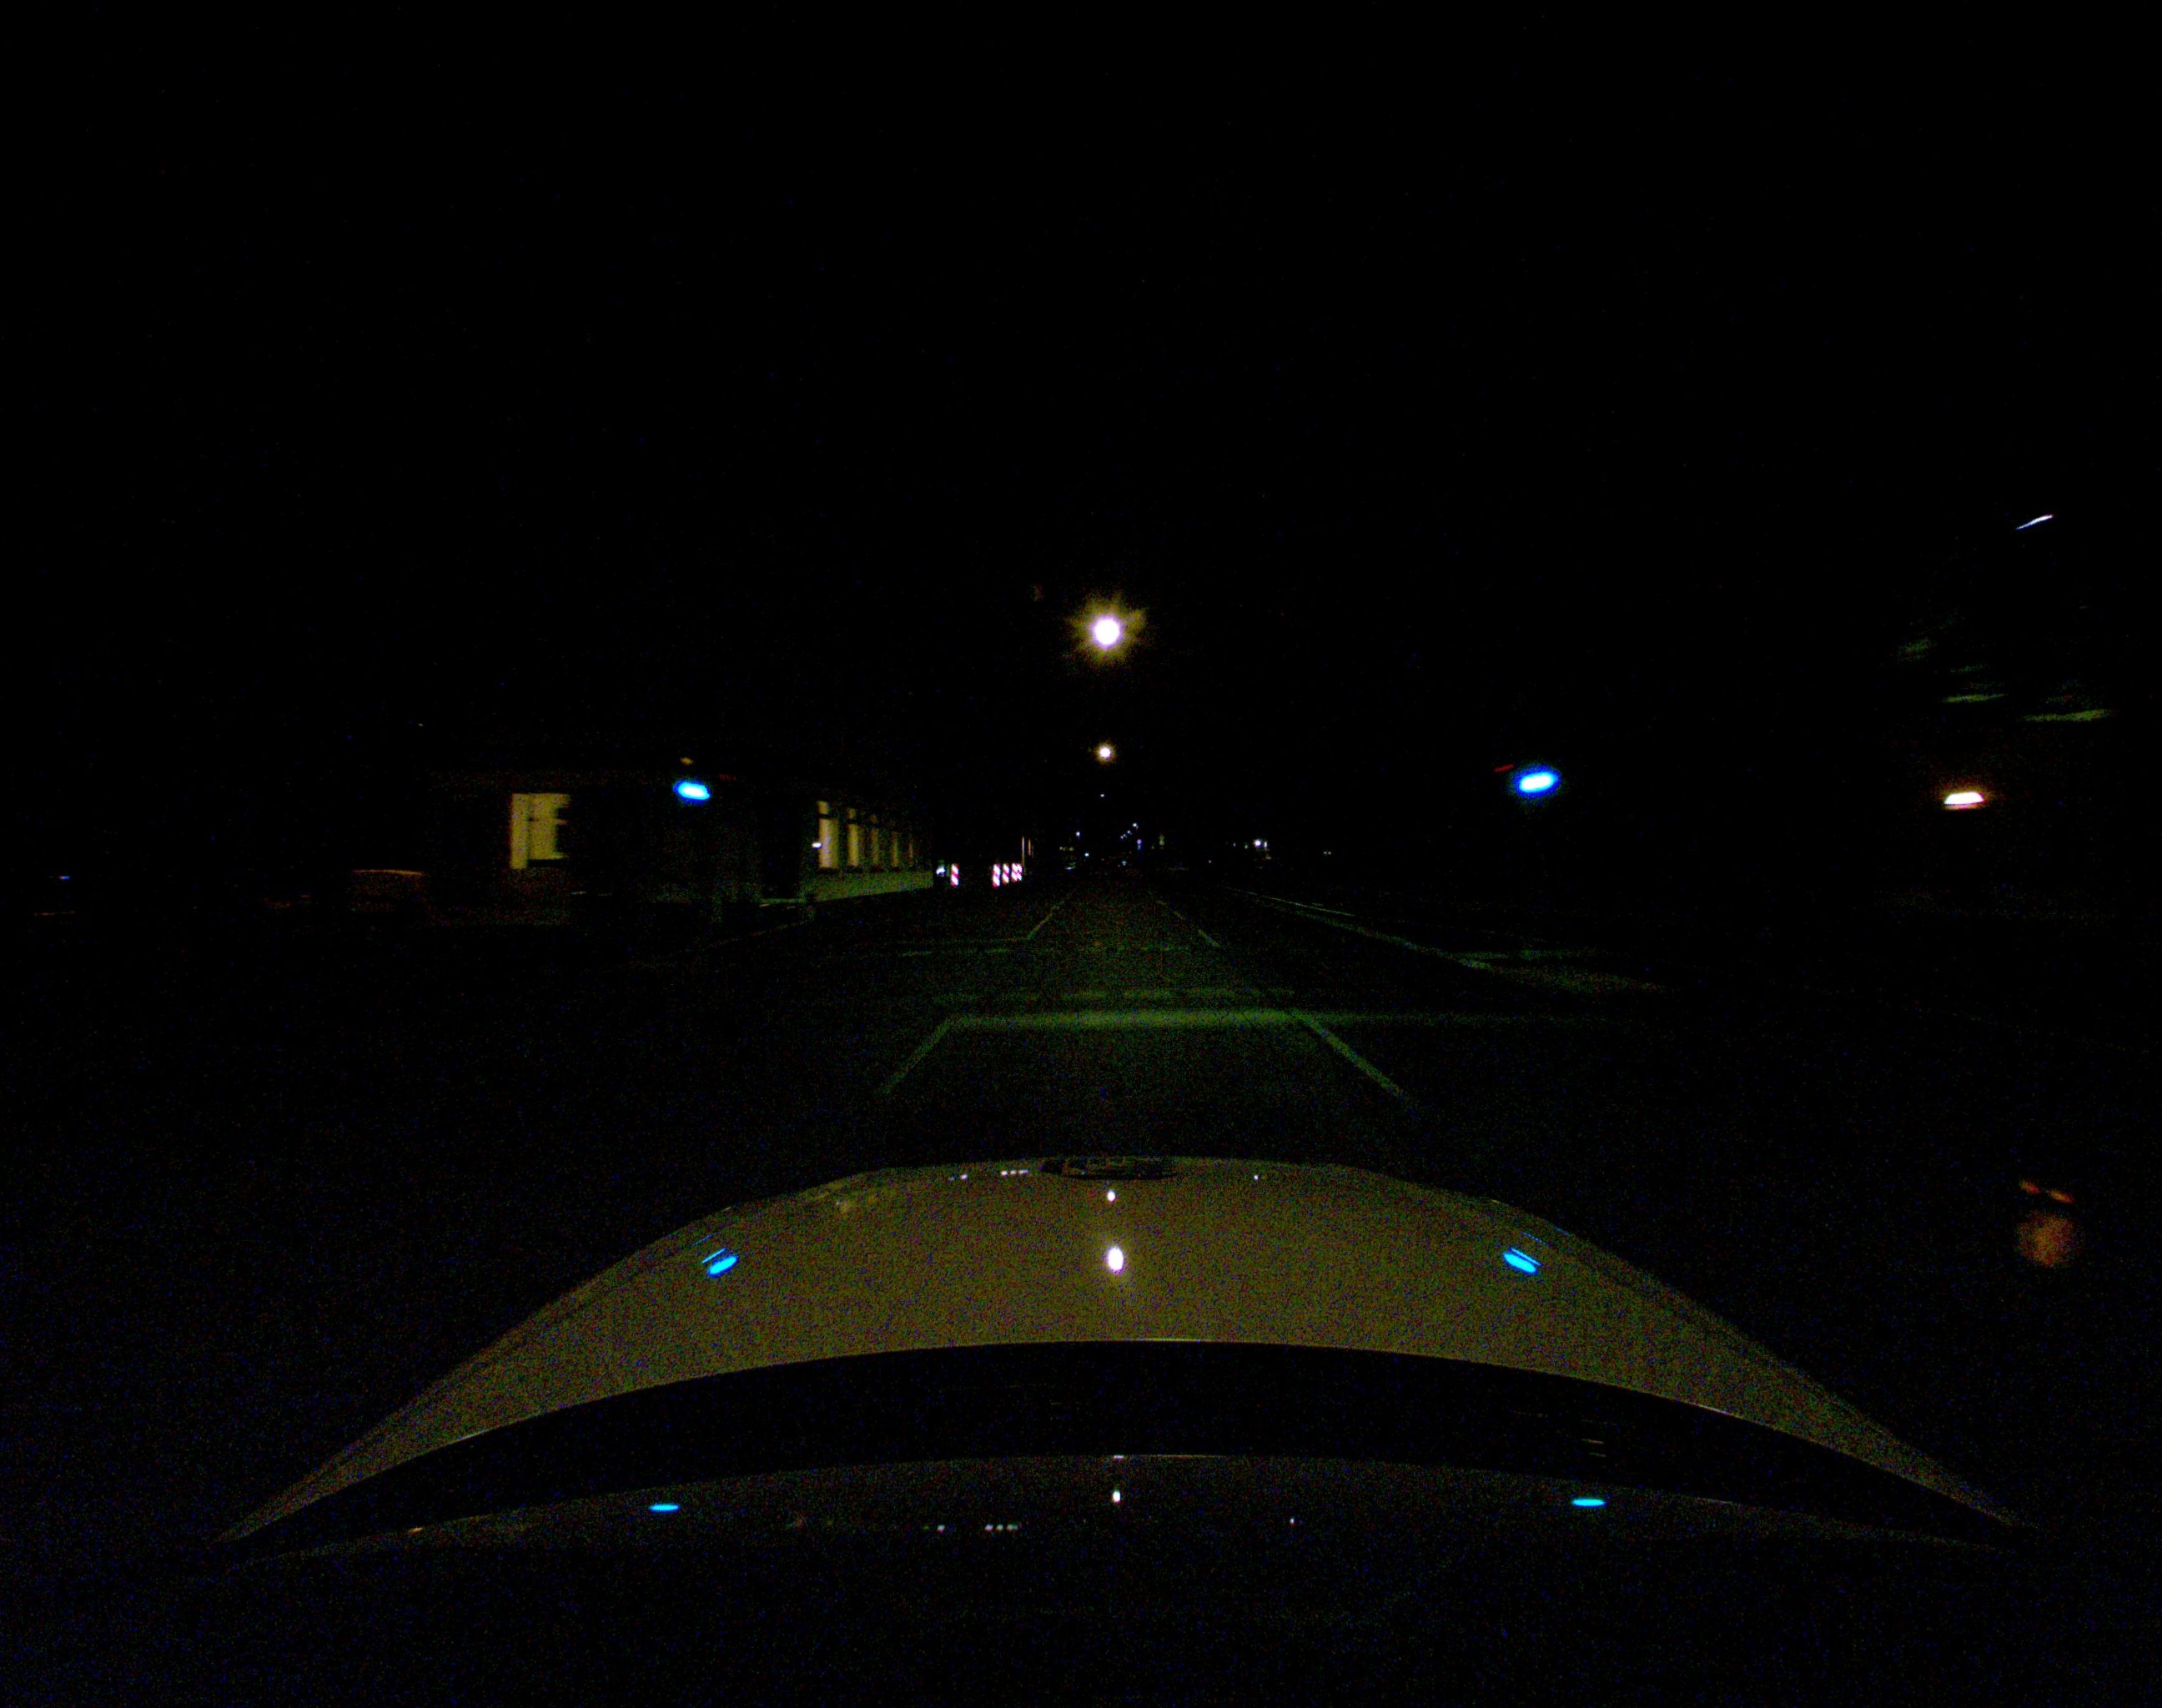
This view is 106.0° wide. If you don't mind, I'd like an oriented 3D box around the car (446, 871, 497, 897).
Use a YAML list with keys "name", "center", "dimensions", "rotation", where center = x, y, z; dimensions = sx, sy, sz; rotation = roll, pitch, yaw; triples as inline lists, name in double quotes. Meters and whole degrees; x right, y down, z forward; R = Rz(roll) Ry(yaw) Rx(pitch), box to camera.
- name: "car"
  center: [-42.653, 2.103, 57.094]
  dimensions: [1.905, 1.735, 3.970]
  rotation: [-1, -1, -22]

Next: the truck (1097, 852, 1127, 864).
- name: "truck"
  center: [7.195, 0.949, 187.805]
  dimensions: [6.758, 2.844, 1.999]
  rotation: [-1, -1, -2]

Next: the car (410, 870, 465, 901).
- name: "car"
  center: [-40.092, 1.917, 50.868]
  dimensions: [1.804, 1.809, 3.967]
  rotation: [-1, 0, -25]

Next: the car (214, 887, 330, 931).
- name: "car"
  center: [-31.302, 2.080, 31.659]
  dimensions: [1.890, 1.449, 3.968]
  rotation: [-1, 0, -24]

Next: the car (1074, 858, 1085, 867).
- name: "car"
  center: [-0.245, 1.411, 133.123]
  dimensions: [1.699, 1.510, 4.100]
  rotation: [0, -1, 1]

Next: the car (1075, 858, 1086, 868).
- name: "car"
  center: [-0.126, 1.504, 139.067]
  dimensions: [1.671, 1.566, 4.105]
  rotation: [-2, -1, 1]

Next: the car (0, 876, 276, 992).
- name: "car"
  center: [-15.951, 1.229, 13.877]
  dimensions: [1.924, 1.644, 4.075]
  rotation: [2, -2, -27]

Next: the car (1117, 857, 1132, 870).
- name: "car"
  center: [5.920, 1.307, 110.162]
  dimensions: [1.876, 1.603, 4.111]
  rotation: [-3, -1, 3]

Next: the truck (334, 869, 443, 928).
- name: "truck"
  center: [-23.681, 1.478, 28.019]
  dimensions: [1.900, 1.807, 4.077]
  rotation: [-1, -1, -27]

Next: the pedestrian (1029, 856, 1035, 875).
- name: "pedestrian"
  center: [-4.589, 1.094, 76.463]
  dimensions: [0.416, 1.708, 0.440]
  rotation: [-1, -2, -15]

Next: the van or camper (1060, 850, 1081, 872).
- name: "van or camper"
  center: [-1.258, 0.863, 99.862]
  dimensions: [2.150, 2.535, 6.227]
  rotation: [-4, -1, 1]

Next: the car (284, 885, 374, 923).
- name: "car"
  center: [-33.463, 2.163, 36.364]
  dimensions: [1.775, 1.460, 3.967]
  rotation: [-1, 0, -25]

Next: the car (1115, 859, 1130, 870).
- name: "car"
  center: [5.853, 1.506, 115.636]
  dimensions: [1.956, 1.383, 4.001]
  rotation: [-2, -1, 2]

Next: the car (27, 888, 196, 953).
- name: "car"
  center: [-26.531, 1.758, 22.458]
  dimensions: [1.609, 1.489, 3.527]
  rotation: [-2, 0, -25]
